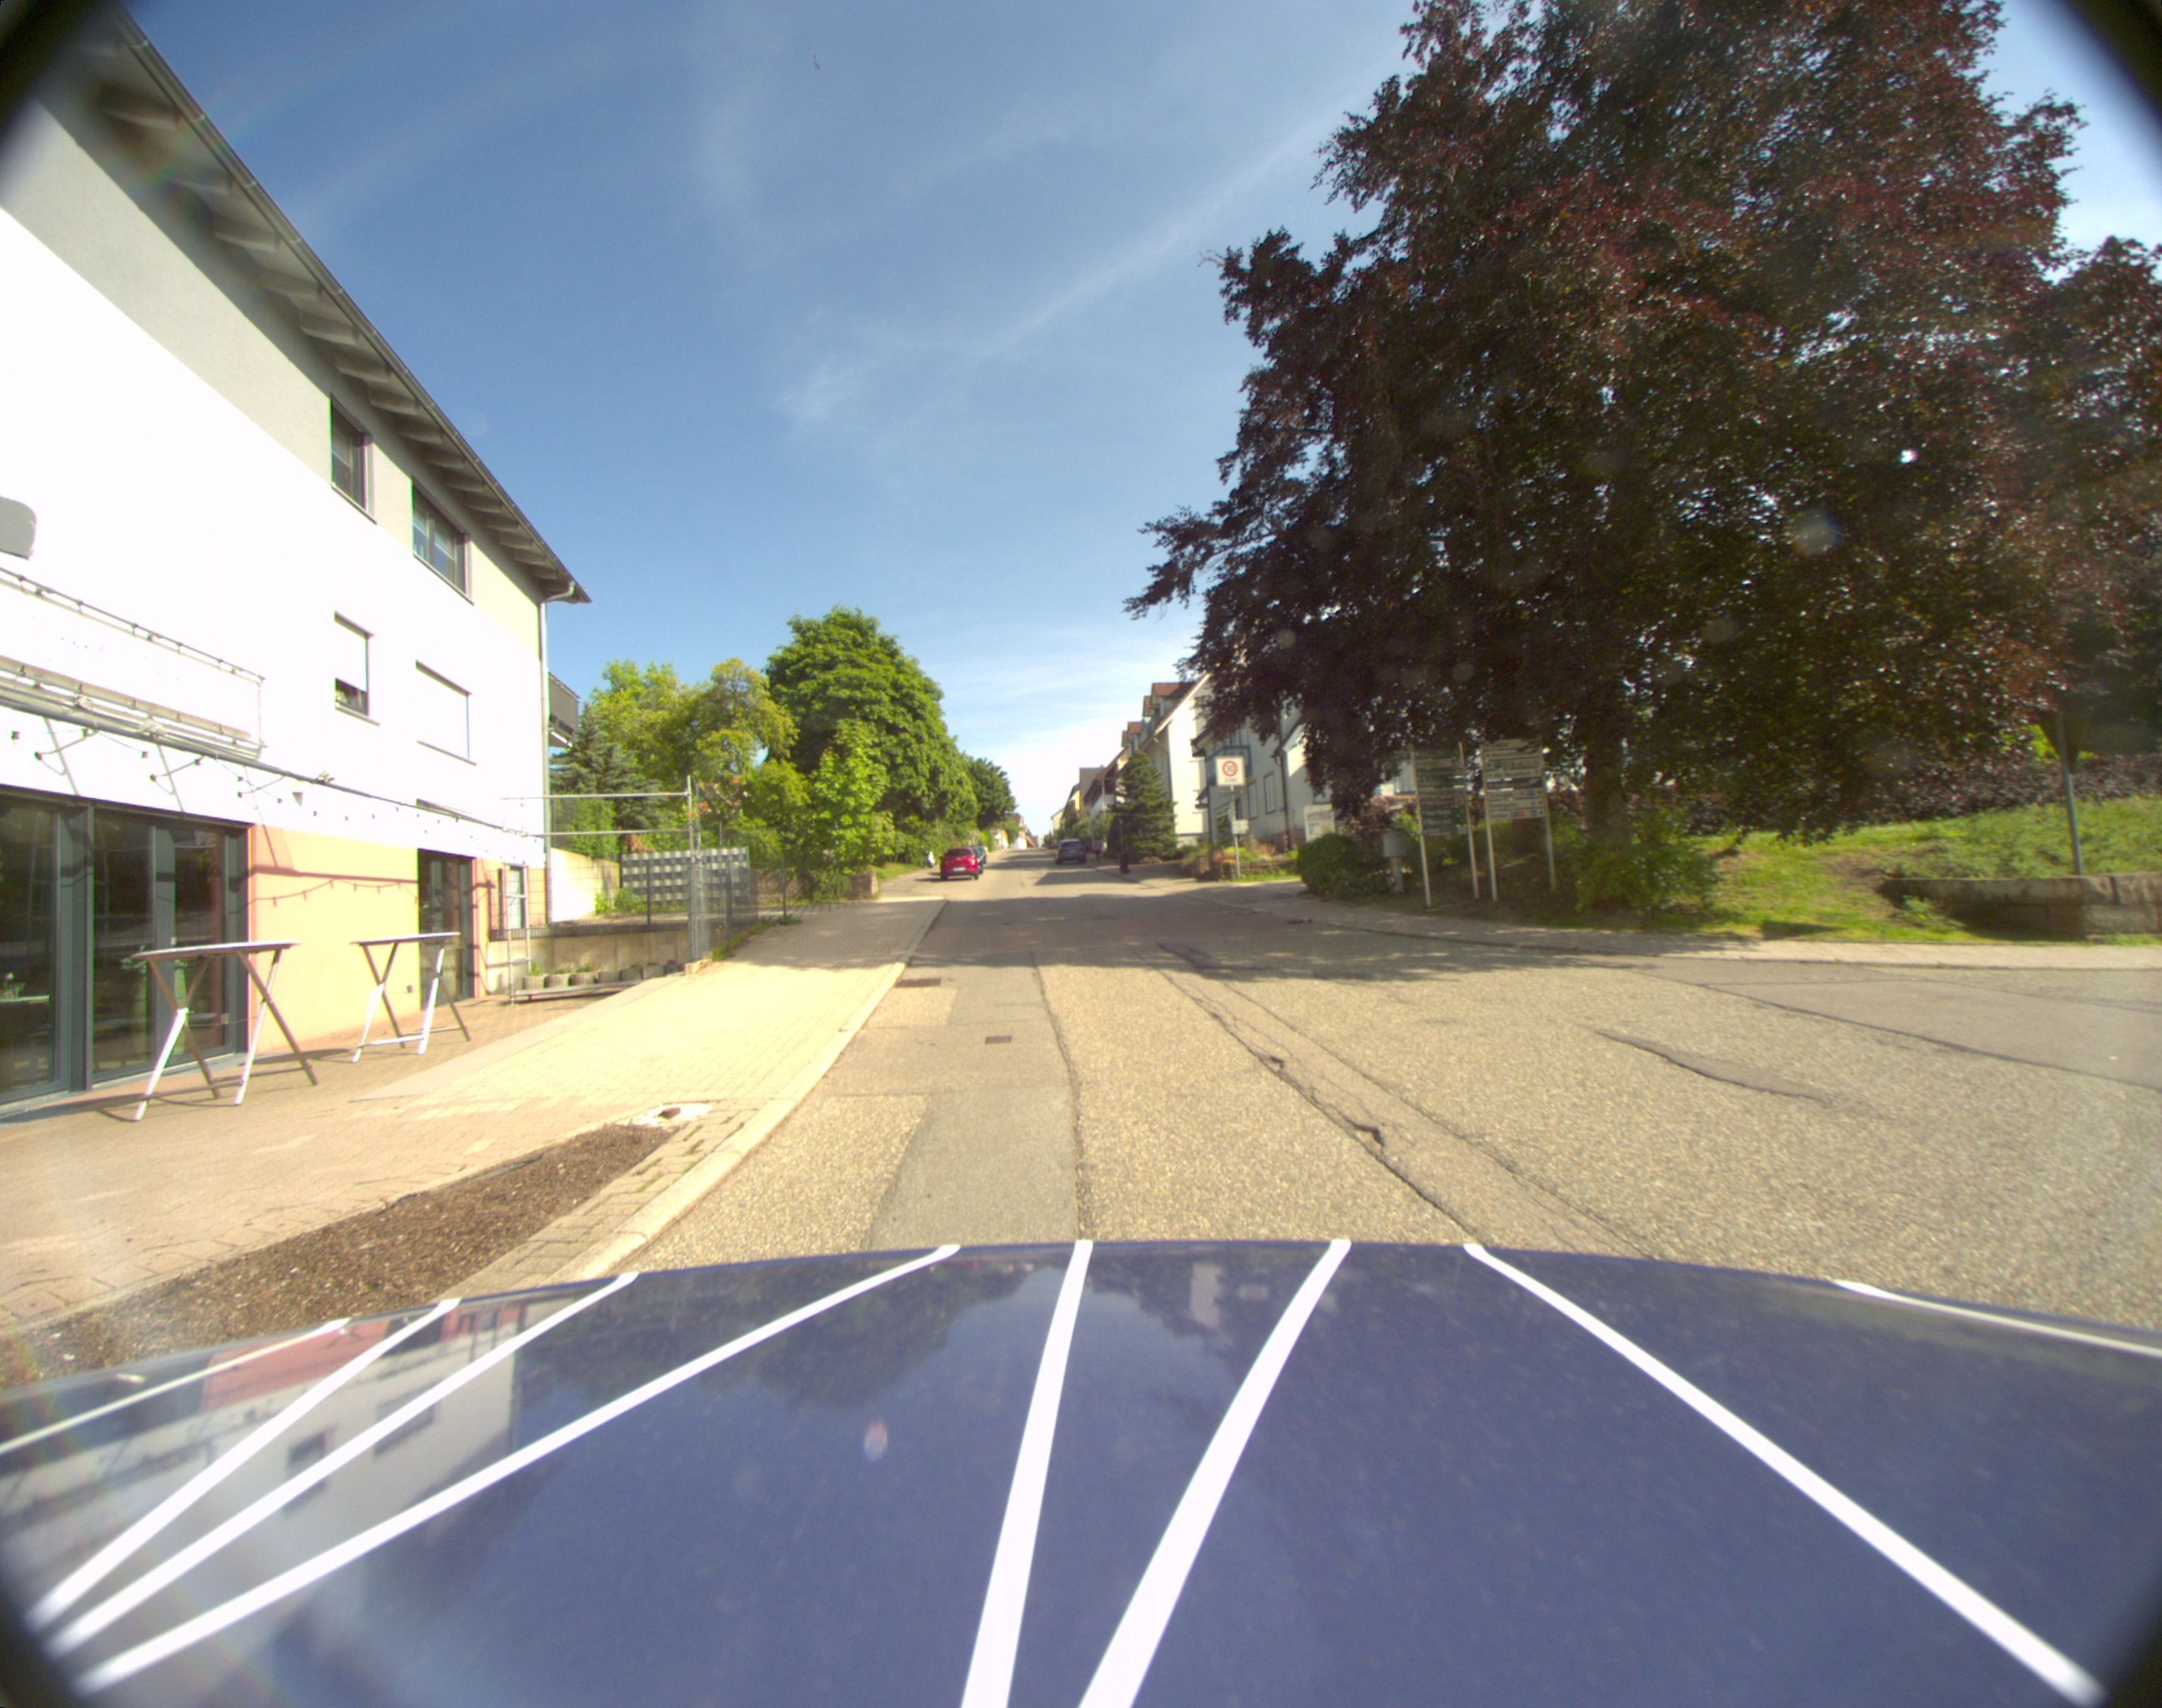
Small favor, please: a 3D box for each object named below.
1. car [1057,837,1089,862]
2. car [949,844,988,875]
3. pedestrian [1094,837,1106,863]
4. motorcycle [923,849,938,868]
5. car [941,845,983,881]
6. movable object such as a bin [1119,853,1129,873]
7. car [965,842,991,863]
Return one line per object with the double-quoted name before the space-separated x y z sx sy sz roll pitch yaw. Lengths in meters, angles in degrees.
"car" -0.591 -0.306 51.940 1.808 1.592 3.808 -3 1 -5
"car" -5.993 0.254 40.793 1.776 1.462 3.808 -3 1 -5
"pedestrian" 1.174 -0.238 46.477 0.668 1.566 0.780 -2 2 1
"motorcycle" -9.830 0.270 49.828 0.785 1.175 2.186 -2 1 -7
"car" -5.476 0.387 35.203 1.624 1.489 3.808 -3 1 -5
"movable object such as a bin" 1.887 0.382 32.980 0.351 0.859 0.395 -2 1 -5
"car" -8.007 -0.132 59.197 1.776 1.462 3.808 -3 1 -5
